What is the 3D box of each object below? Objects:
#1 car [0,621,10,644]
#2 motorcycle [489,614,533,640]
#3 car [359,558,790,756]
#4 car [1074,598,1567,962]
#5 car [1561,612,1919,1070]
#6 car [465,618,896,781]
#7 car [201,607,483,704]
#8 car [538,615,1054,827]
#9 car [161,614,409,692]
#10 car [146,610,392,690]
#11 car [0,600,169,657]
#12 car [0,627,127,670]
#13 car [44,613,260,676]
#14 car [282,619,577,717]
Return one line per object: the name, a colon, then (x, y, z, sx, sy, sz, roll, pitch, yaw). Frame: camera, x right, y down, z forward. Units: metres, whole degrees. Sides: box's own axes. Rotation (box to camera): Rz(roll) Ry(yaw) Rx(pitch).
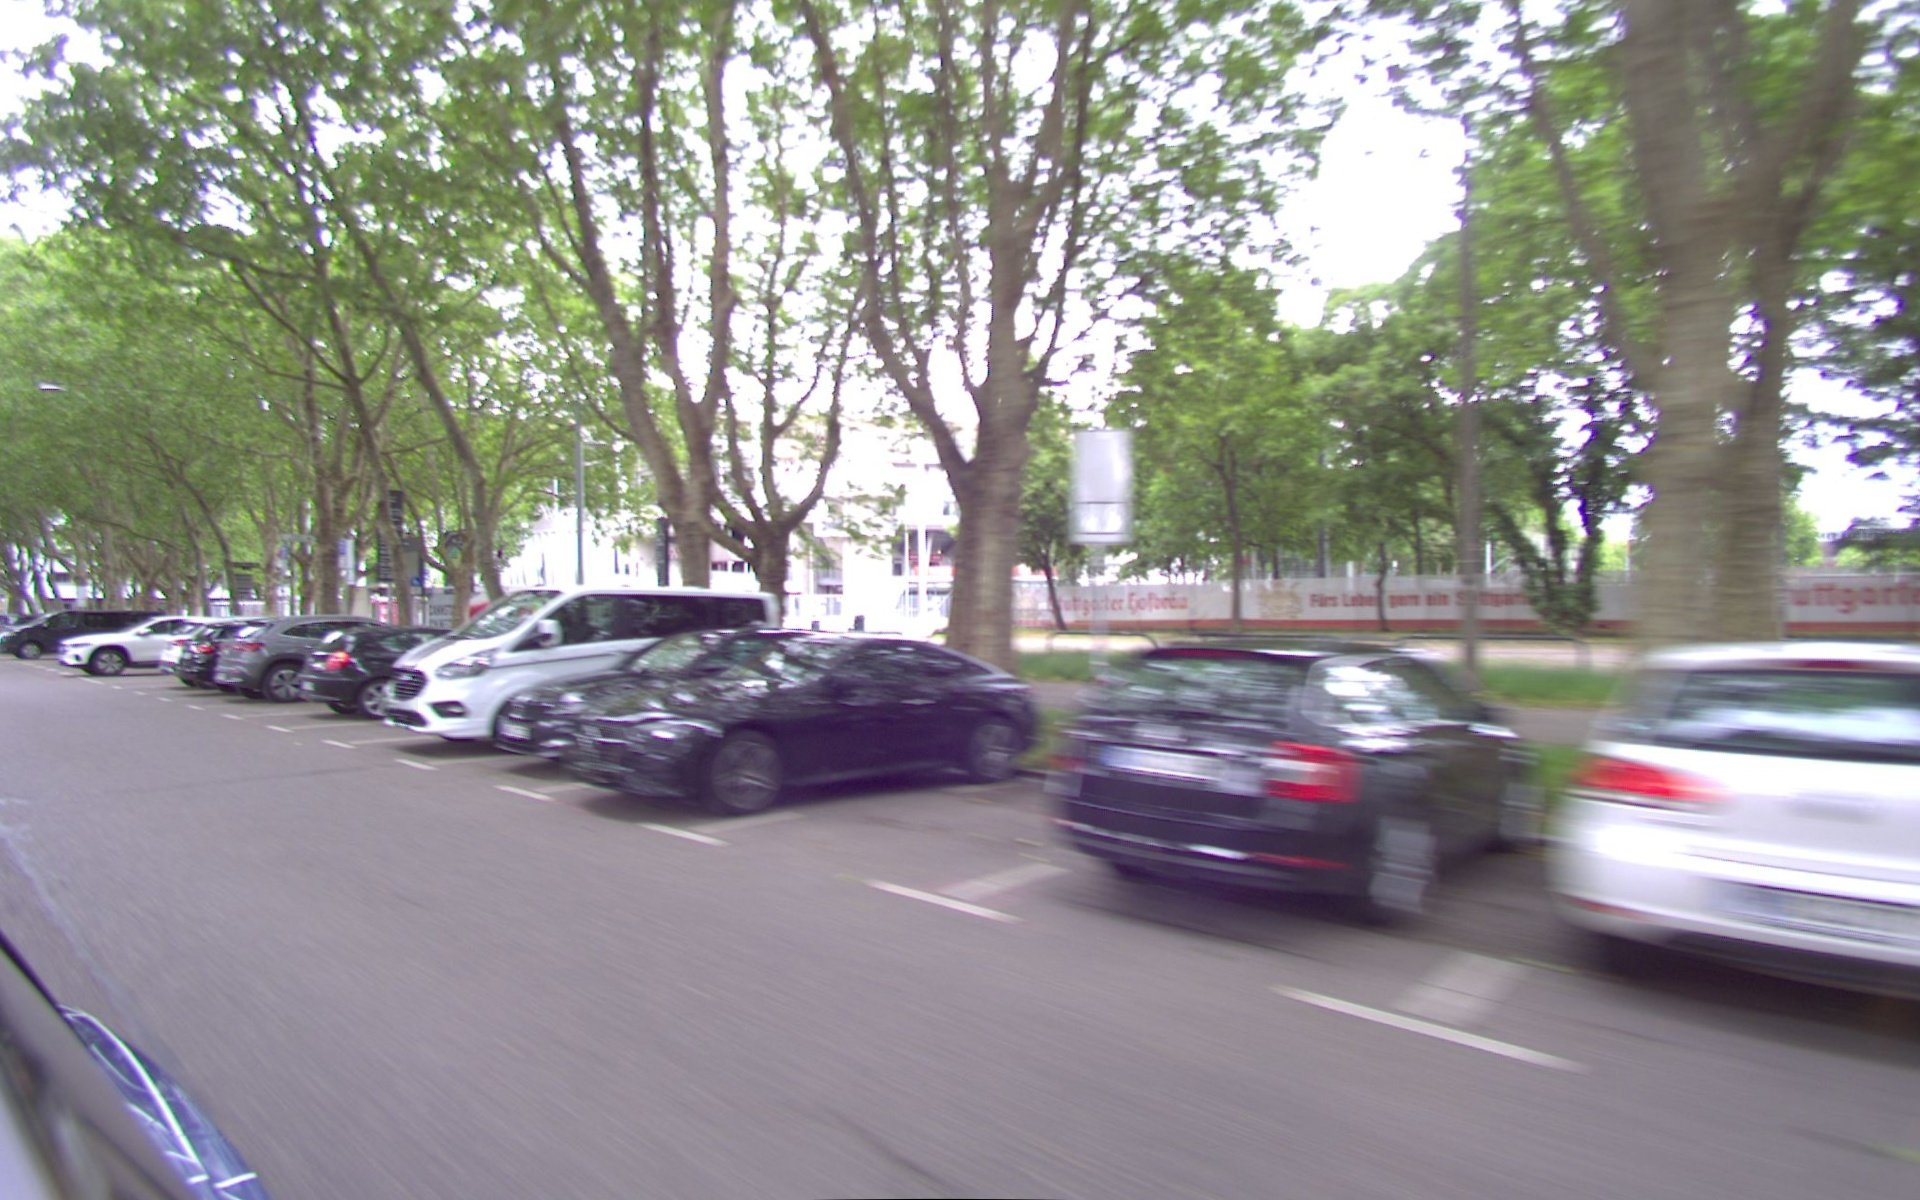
car: (-69.179, 2.277, 70.401, 1.758, 1.630, 4.465, -2, -1, 44)
motorcycle: (-20.161, 1.209, 45.457, 0.740, 1.151, 1.636, -1, -2, 45)
car: (-4.646, 0.670, 12.940, 1.917, 2.034, 4.846, -1, -2, 38)
car: (2.443, 0.861, 6.170, 1.536, 1.482, 3.954, -1, -4, 40)
car: (4.274, 0.850, 4.776, 1.863, 1.485, 3.717, -1, -3, 40)
car: (-2.897, 0.969, 11.336, 1.773, 1.463, 4.402, -1, -2, 41)
car: (-11.993, 1.077, 19.879, 1.998, 1.680, 4.296, -1, -3, 40)
car: (-1.247, 0.909, 9.167, 4.397, 1.463, 1.775, 2, -3, -45)
car: (-14.050, 1.101, 21.246, 1.841, 1.487, 3.946, -1, -3, 40)
car: (-15.921, 1.158, 23.499, 1.998, 1.680, 4.296, -1, -3, 40)
car: (-35.334, 1.175, 40.576, 1.939, 2.144, 5.380, -2, -3, 40)
car: (-40.604, 2.209, 45.555, 4.600, 1.834, 1.807, 3, -5, -45)
car: (-22.232, 1.216, 27.979, 1.998, 1.609, 4.335, -1, -3, 40)
car: (-8.601, 1.082, 16.657, 1.683, 1.424, 3.944, -2, -4, 42)
